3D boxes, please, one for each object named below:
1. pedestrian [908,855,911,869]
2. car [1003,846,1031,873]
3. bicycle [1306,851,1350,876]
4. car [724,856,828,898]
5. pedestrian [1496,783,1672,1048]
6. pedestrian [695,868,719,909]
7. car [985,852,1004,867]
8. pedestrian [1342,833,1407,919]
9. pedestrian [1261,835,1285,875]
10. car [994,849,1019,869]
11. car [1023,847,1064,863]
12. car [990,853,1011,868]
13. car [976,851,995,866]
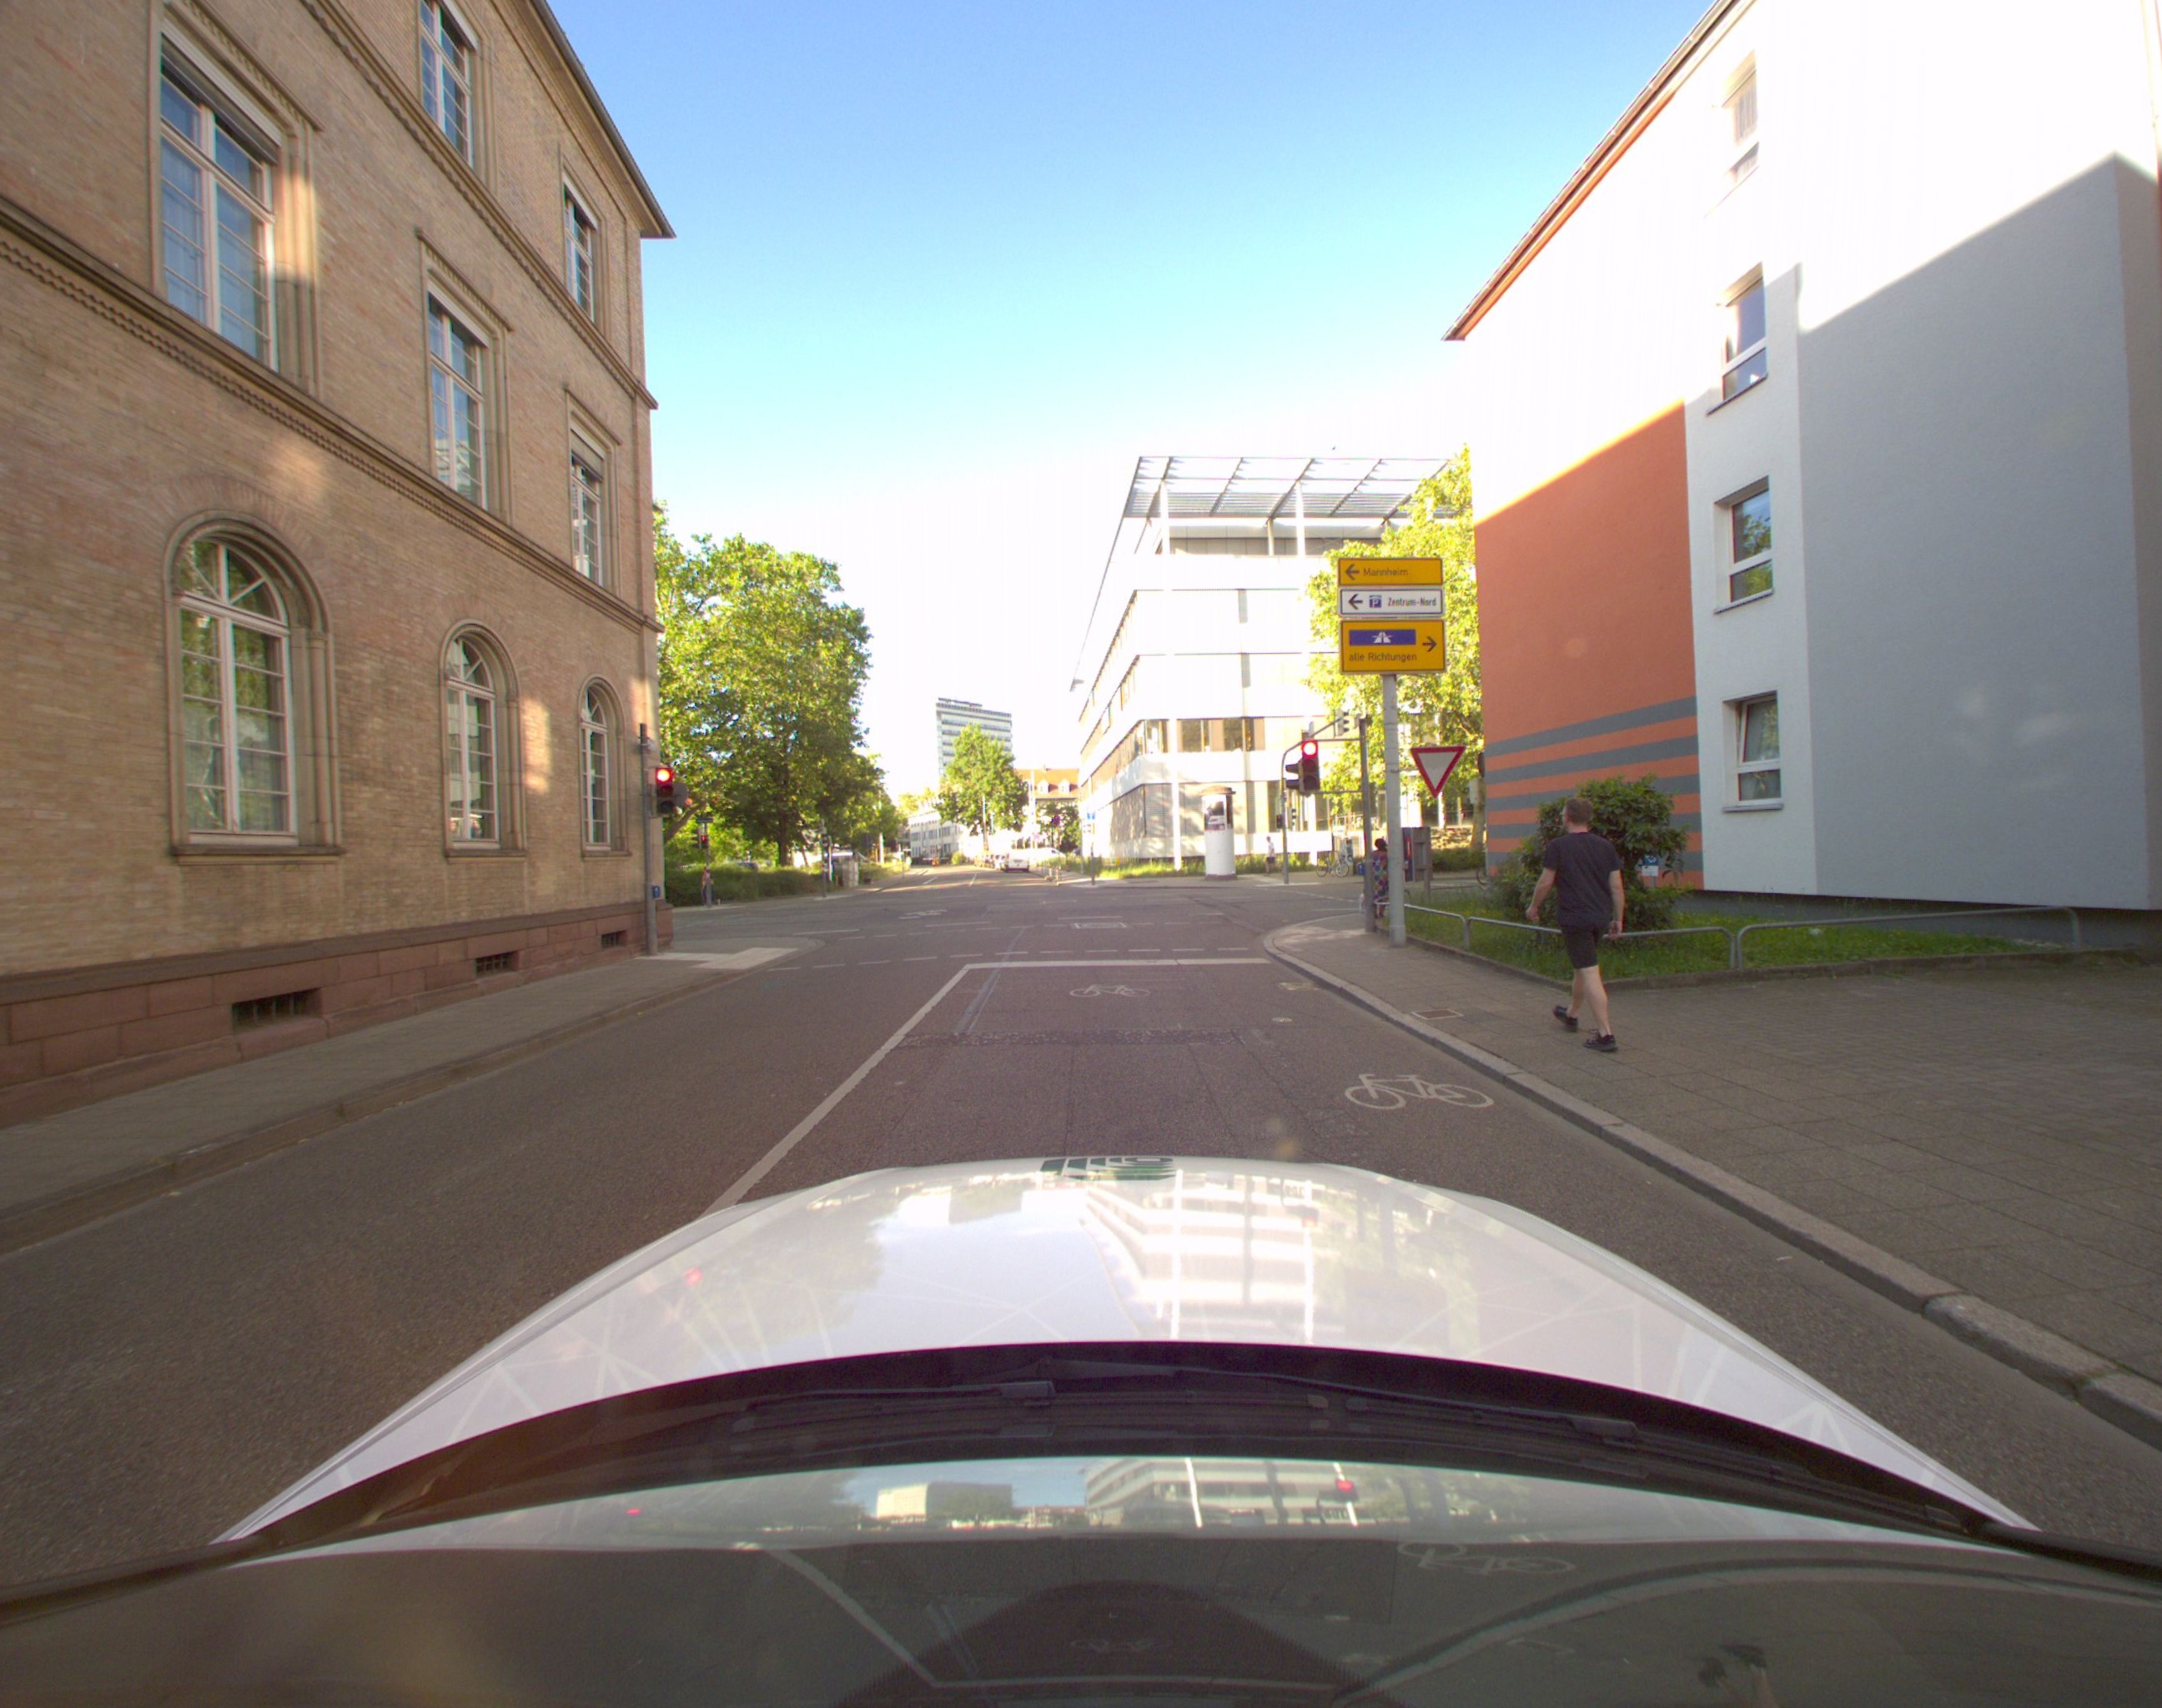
[{"bbox_3d":[-20.101,0.938,95.463,0.380,1.534,0.444,-2,0,-10],"label":"pedestrian"},{"bbox_3d":[-5.127,0.413,64.927,2.065,1.963,4.228,-2,0,-7],"label":"car"},{"bbox_3d":[10.903,0.436,35.987,0.467,1.049,1.893,-2,0,-40],"label":"bicycle"},{"bbox_3d":[-14.399,1.073,38.631,4.219,1.777,1.901,-2,0,-7],"label":"car"},{"bbox_3d":[3.716,0.427,6.099,0.641,1.788,0.917,-5,0,4],"label":"pedestrian"},{"bbox_3d":[-15.011,1.360,32.663,0.717,1.599,0.610,-2,0,-36],"label":"pedestrian"},{"bbox_3d":[-9.195,0.546,86.236,1.704,1.464,4.225,-2,0,-9],"label":"car"},{"bbox_3d":[5.770,0.428,16.020,0.945,1.573,0.755,-5,0,30],"label":"pedestrian"},{"bbox_3d":[8.960,0.062,37.973,1.030,1.831,0.541,-2,0,13],"label":"pedestrian"},{"bbox_3d":[-7.095,0.491,76.902,1.947,1.795,4.223,-2,0,-11],"label":"car"},{"bbox_3d":[-4.760,0.098,103.094,4.889,1.872,1.990,-1,-1,-15],"label":"car"},{"bbox_3d":[-8.112,0.628,81.770,1.705,1.424,4.221,-2,0,-11],"label":"car"},{"bbox_3d":[-11.303,0.509,96.117,2.100,1.658,4.461,-2,0,-9],"label":"car"}]
